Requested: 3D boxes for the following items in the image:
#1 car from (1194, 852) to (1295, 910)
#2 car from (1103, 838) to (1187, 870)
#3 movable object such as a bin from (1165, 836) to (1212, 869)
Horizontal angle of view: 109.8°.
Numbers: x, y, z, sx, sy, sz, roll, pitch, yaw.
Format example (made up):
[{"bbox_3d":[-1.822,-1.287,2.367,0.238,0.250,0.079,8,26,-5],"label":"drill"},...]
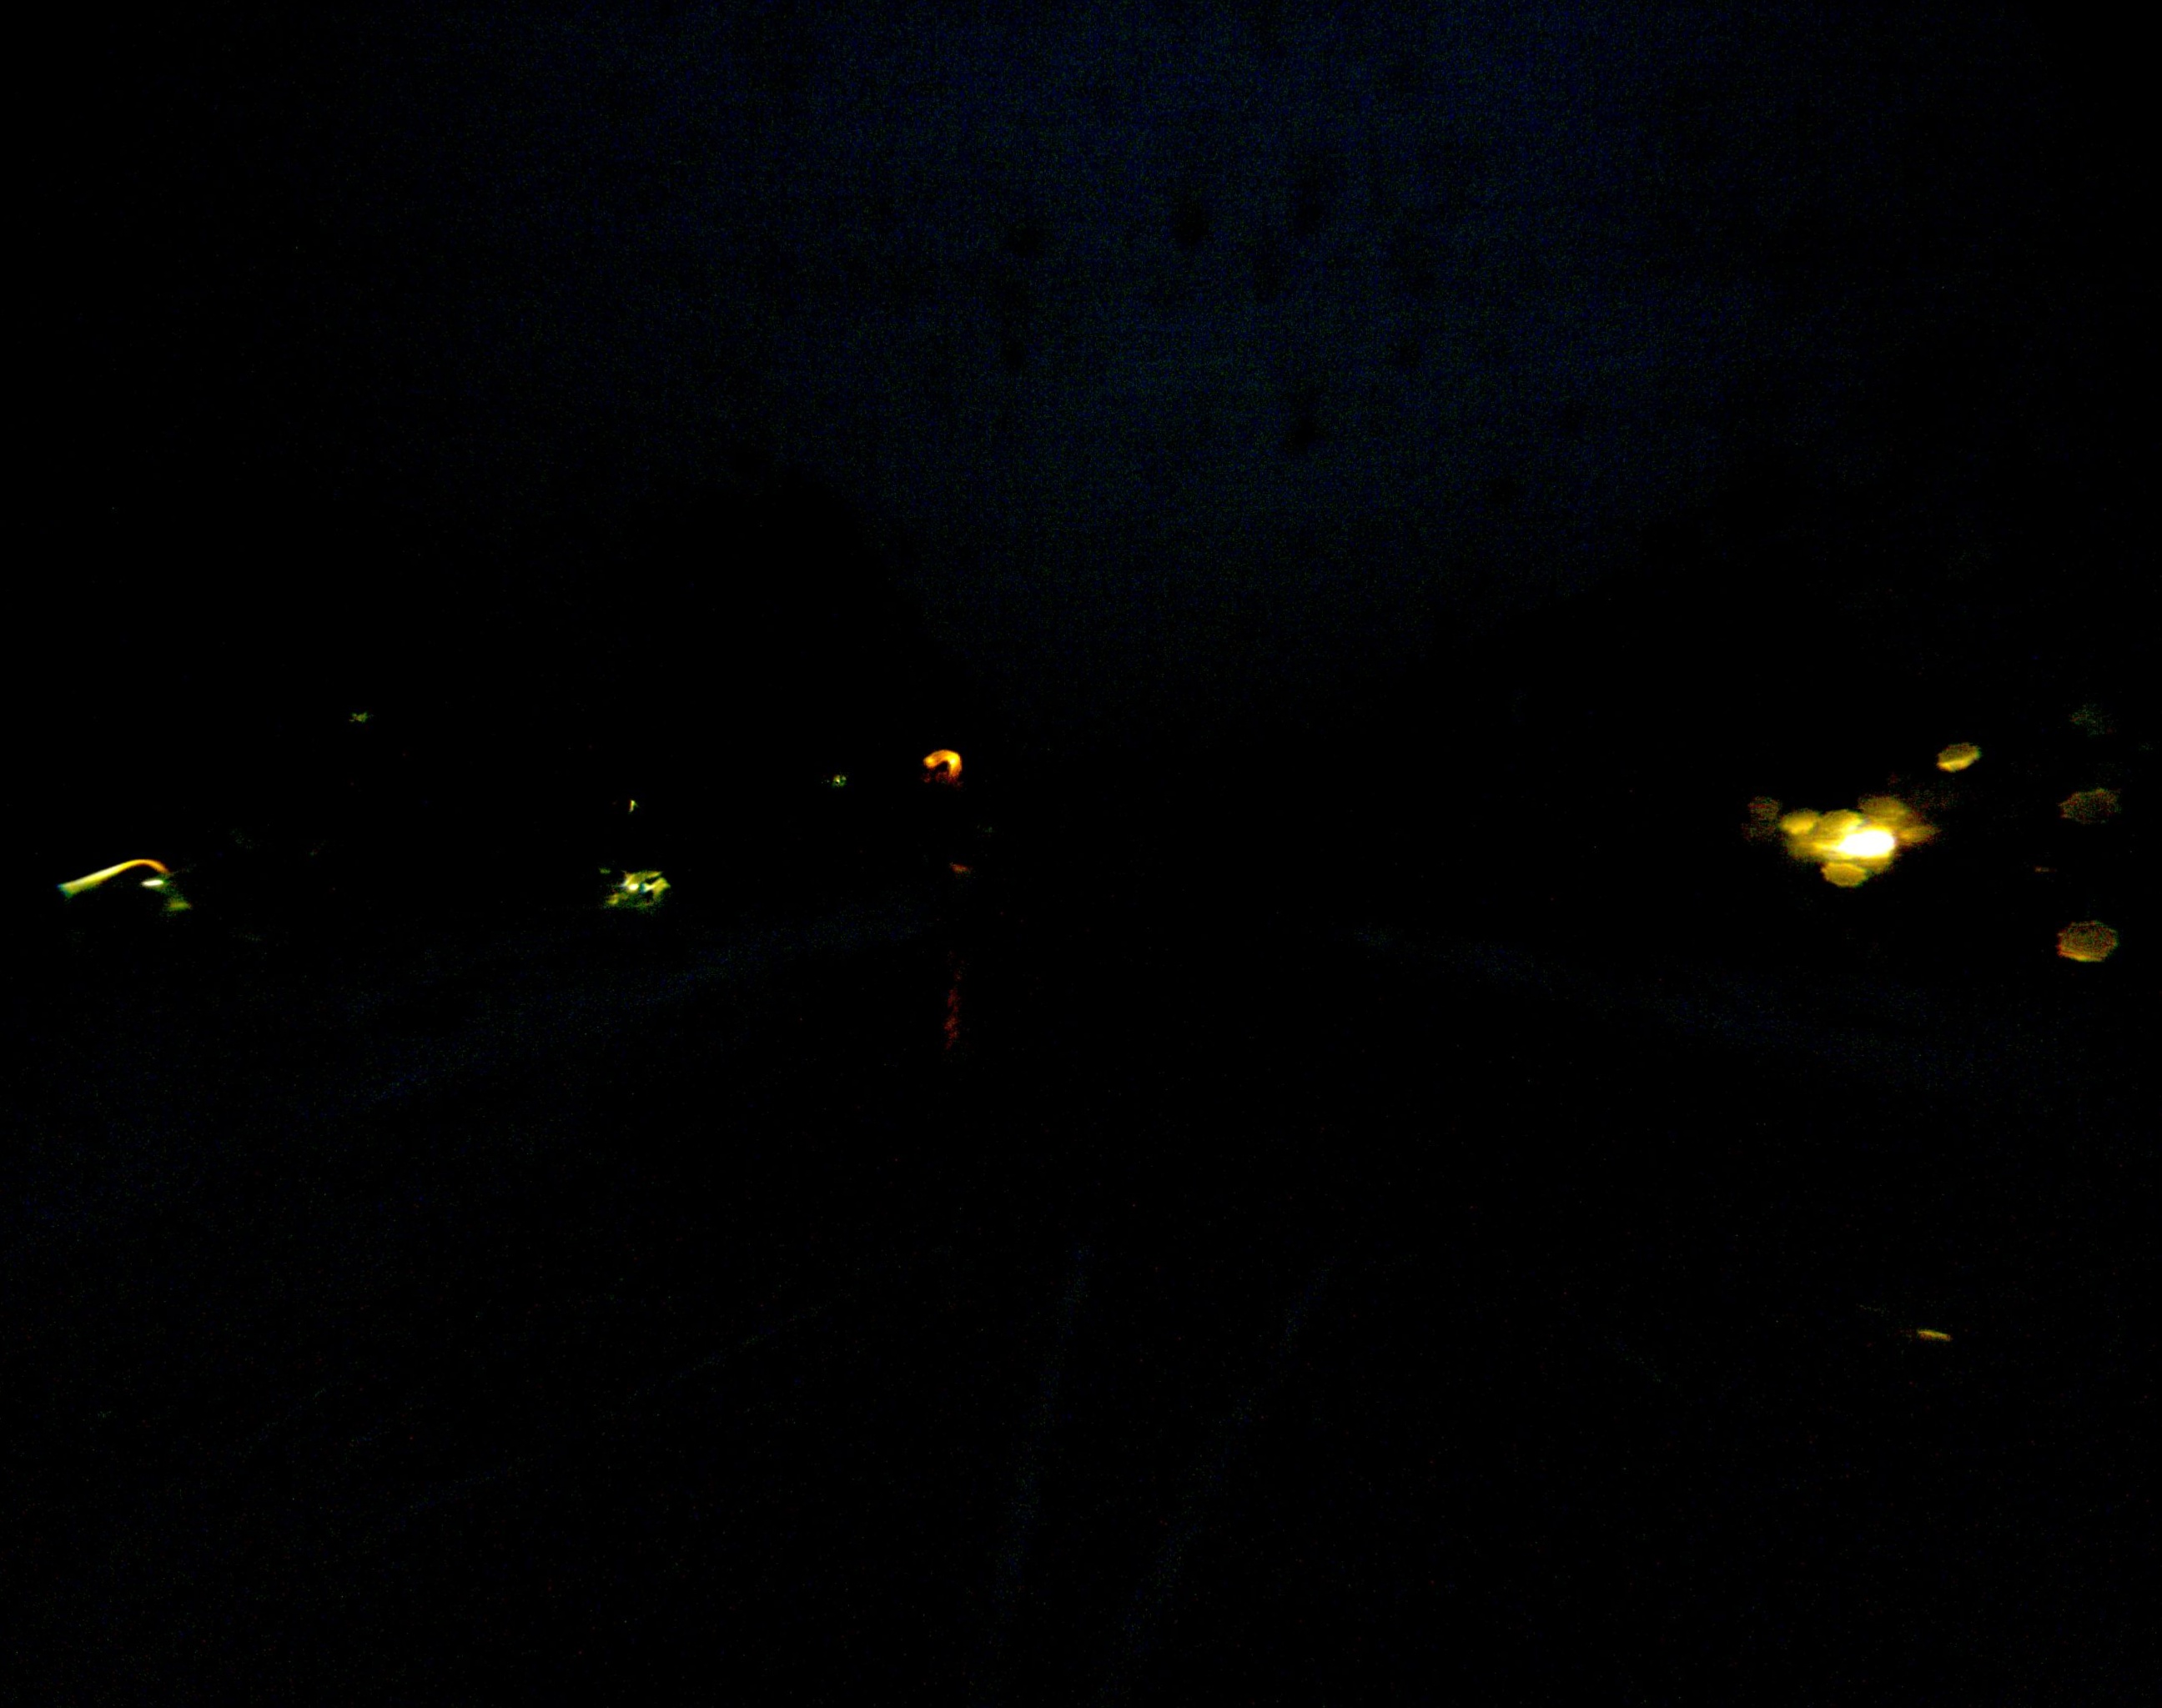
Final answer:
[{"bbox_3d":[4.600,0.720,21.914,1.724,1.525,3.514,1,0,-8],"label":"car"},{"bbox_3d":[4.339,-0.010,52.053,5.280,2.003,2.210,1,4,-13],"label":"car"},{"bbox_3d":[5.822,-0.090,41.135,2.367,1.639,1.442,-2,1,11],"label":"movable object such as a bin"}]
